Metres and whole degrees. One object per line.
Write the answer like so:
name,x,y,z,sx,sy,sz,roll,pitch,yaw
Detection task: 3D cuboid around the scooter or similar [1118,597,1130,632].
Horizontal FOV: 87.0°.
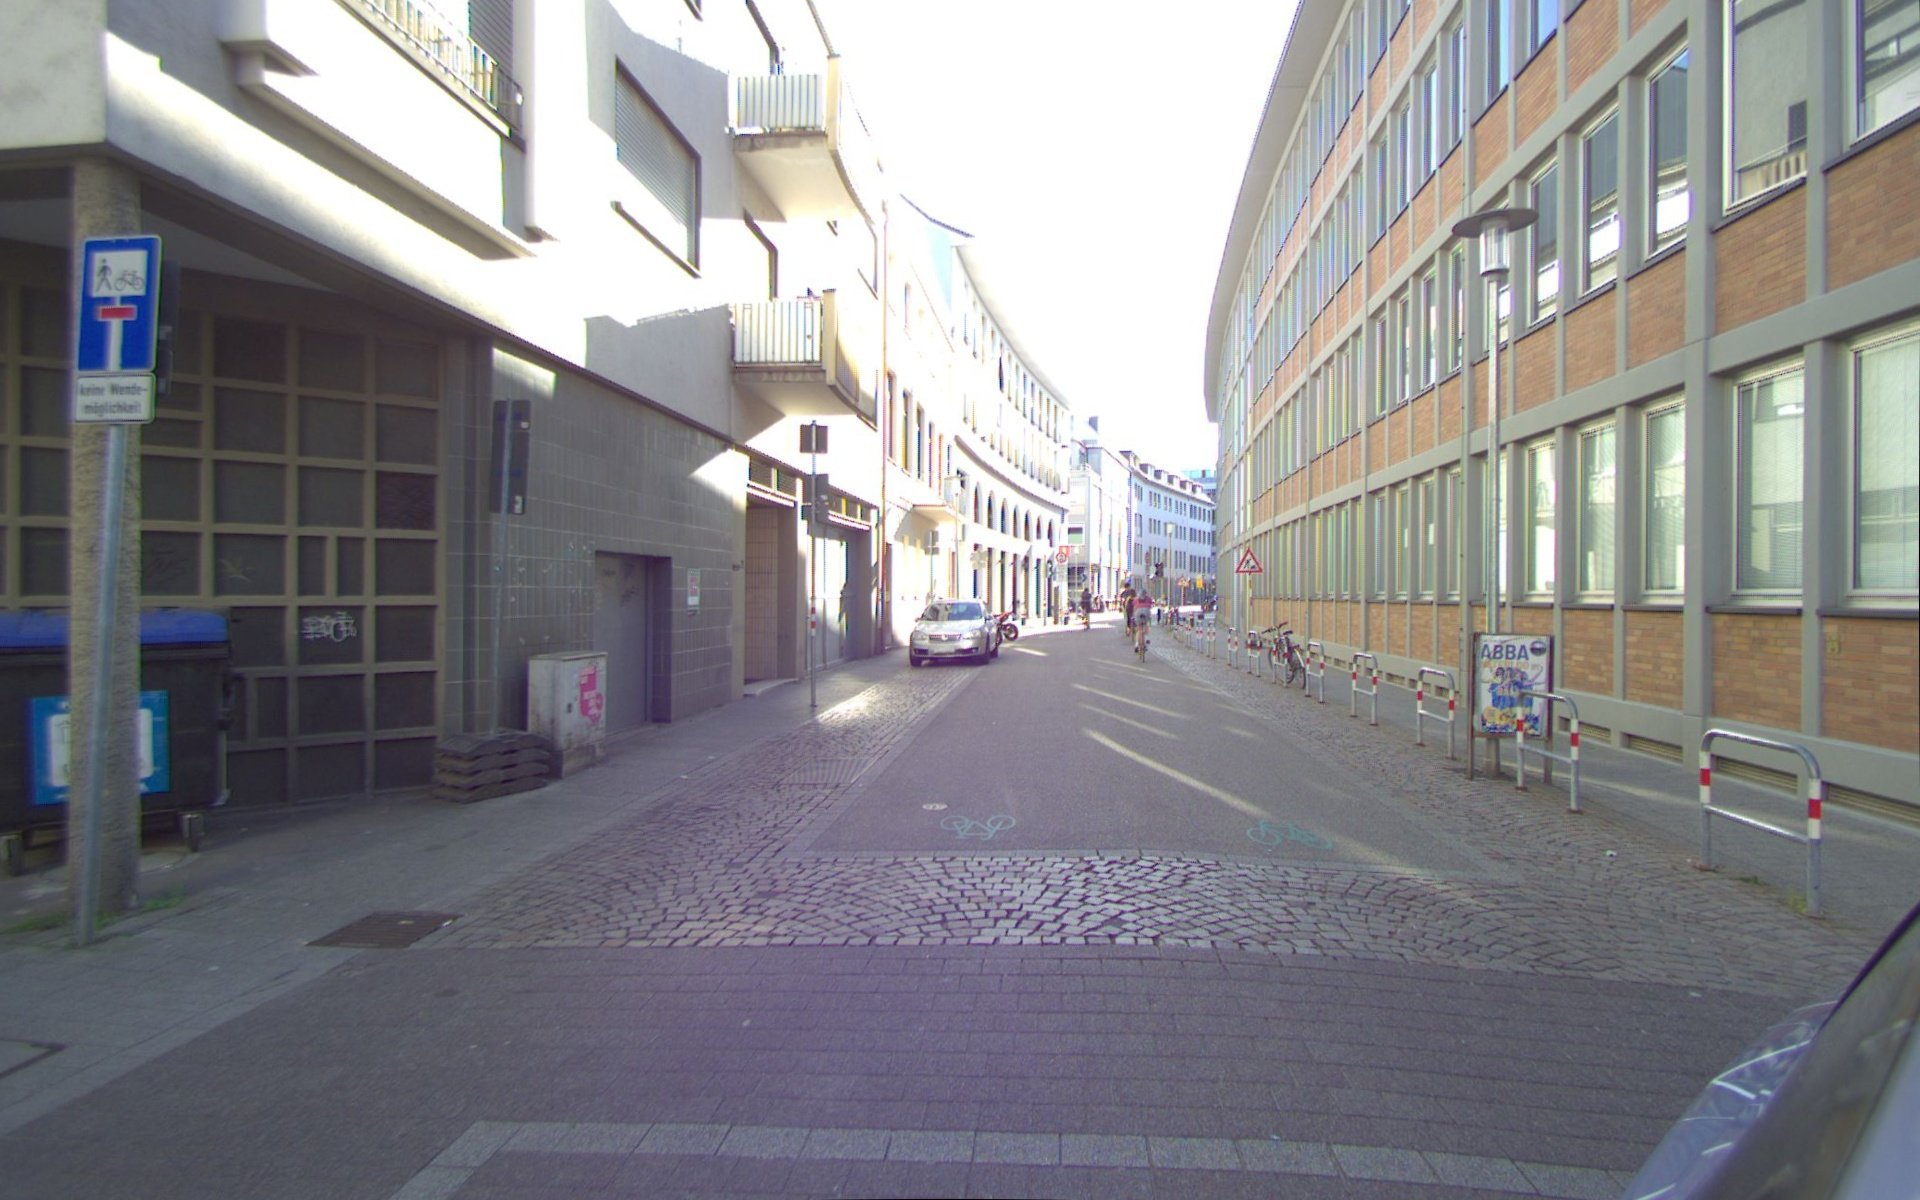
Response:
scooter or similar,5.961,0.528,36.785,0.331,1.200,1.277,2,1,7

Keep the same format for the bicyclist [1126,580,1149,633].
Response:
bicyclist,5.743,0.205,32.822,0.609,1.687,0.822,2,0,6

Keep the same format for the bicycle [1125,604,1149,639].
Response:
bicycle,5.727,0.674,32.841,0.581,1.065,1.798,2,1,5

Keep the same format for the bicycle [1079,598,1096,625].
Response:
bicycle,5.124,0.454,40.727,0.565,1.064,1.831,0,0,10

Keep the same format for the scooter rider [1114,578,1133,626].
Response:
scooter rider,5.949,0.070,36.840,0.637,1.747,0.701,0,1,5

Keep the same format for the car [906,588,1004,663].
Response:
car,-0.031,0.520,23.065,1.740,1.489,3.806,-2,1,7

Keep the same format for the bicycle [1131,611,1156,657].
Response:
bicycle,4.176,0.754,23.048,0.428,0.969,1.588,1,1,6

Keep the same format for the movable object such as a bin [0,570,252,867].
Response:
movable object such as a bin,-5.172,0.623,6.230,1.268,1.609,1.154,-1,1,-39

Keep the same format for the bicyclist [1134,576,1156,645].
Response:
bicyclist,4.207,0.225,23.052,0.421,1.517,0.873,1,1,8

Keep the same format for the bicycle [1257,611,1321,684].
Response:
bicycle,5.604,0.781,17.335,0.627,1.130,1.928,0,0,5

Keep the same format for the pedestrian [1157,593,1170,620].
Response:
pedestrian,11.000,0.355,54.841,0.648,1.459,0.594,0,0,9

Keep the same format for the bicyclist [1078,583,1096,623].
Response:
bicyclist,5.107,0.126,40.673,0.639,1.578,1.107,-1,0,10
